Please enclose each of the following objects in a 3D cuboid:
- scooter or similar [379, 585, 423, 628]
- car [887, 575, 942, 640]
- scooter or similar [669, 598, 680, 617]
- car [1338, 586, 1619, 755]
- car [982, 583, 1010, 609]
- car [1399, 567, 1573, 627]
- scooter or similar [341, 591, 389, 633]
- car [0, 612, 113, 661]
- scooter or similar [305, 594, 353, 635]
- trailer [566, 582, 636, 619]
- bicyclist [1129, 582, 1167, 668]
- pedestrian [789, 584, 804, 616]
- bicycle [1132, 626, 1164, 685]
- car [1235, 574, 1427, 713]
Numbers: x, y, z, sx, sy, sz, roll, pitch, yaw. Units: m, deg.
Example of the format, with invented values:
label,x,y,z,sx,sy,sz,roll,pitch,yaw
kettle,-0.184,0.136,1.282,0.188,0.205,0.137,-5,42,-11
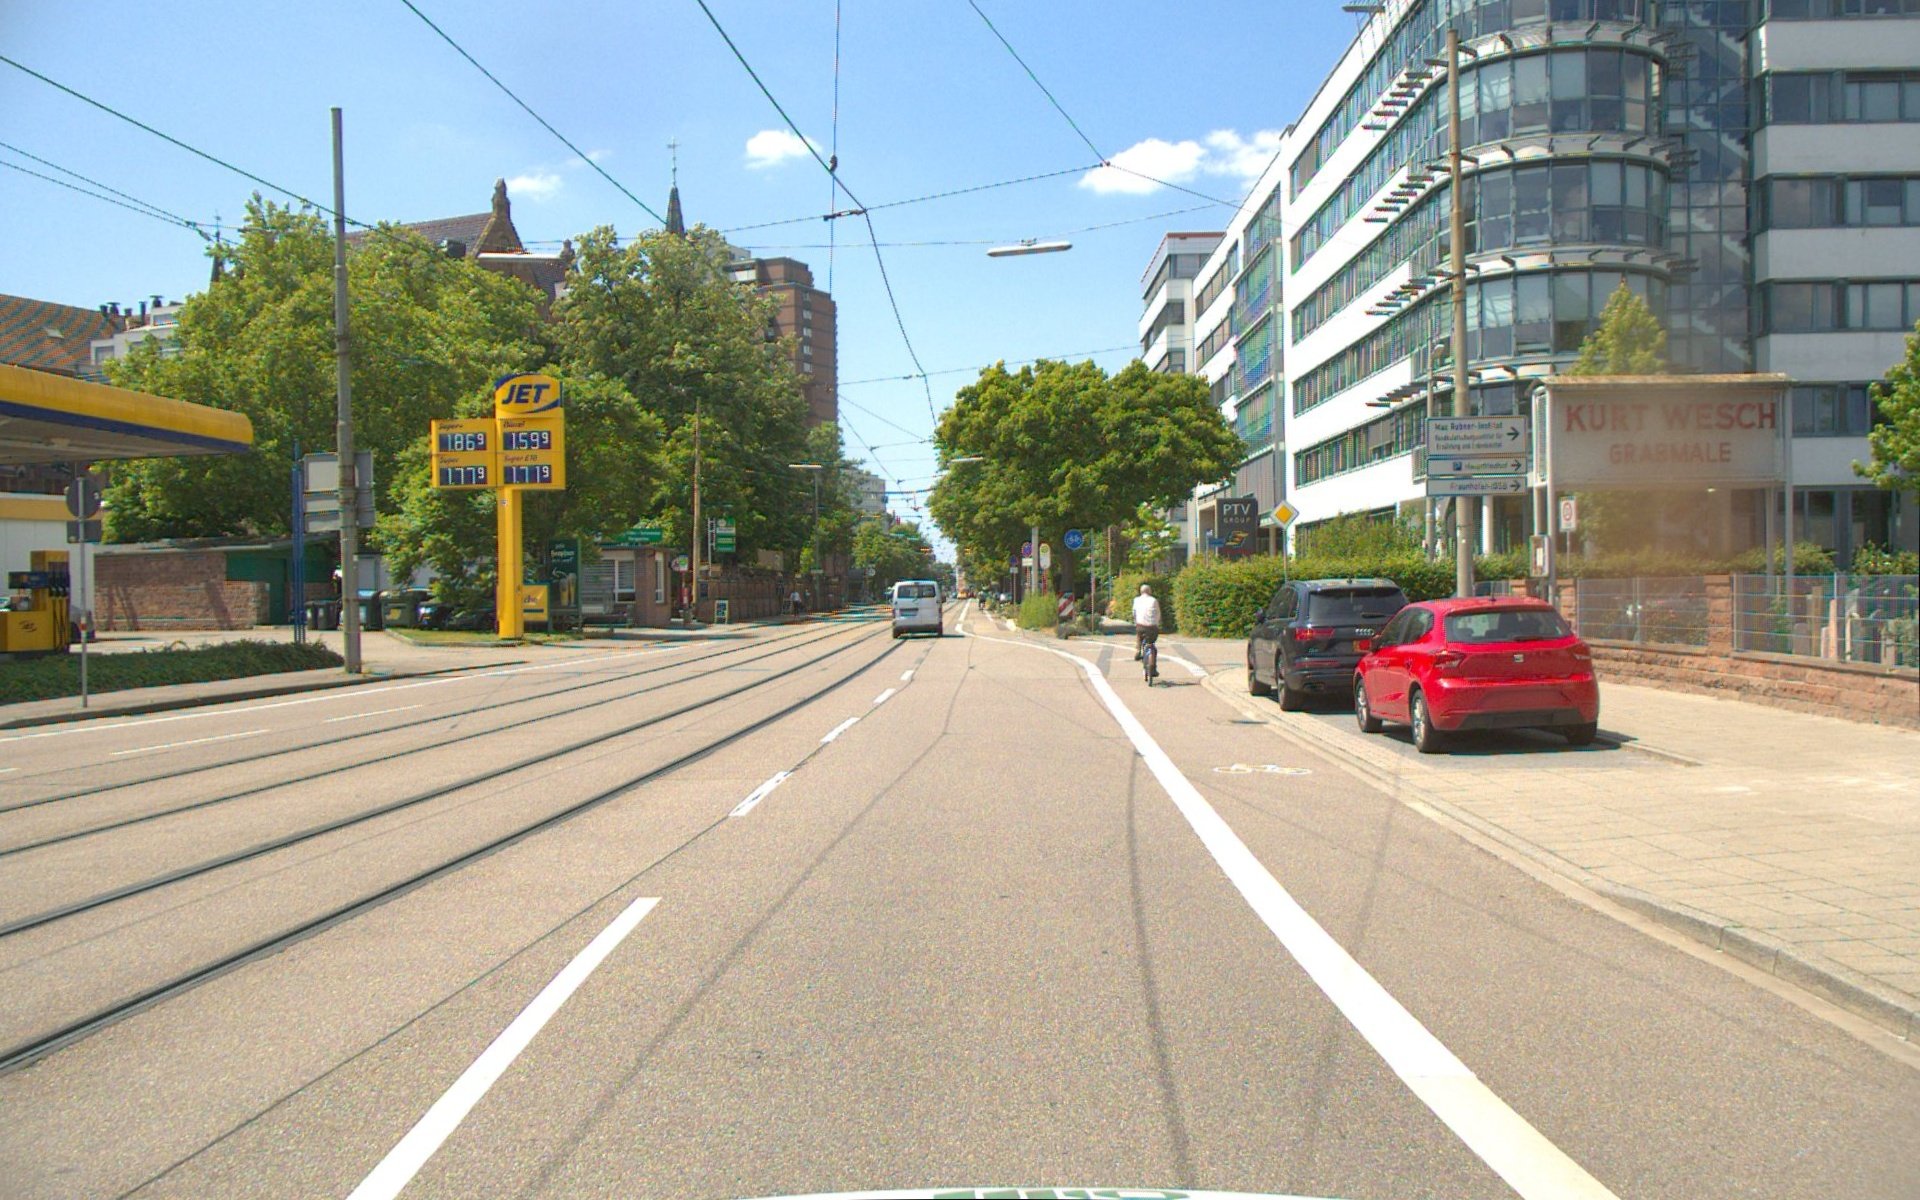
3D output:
label,x,y,z,sx,sy,sz,roll,pitch,yaw
scooter or similar,-20.225,0.236,59.836,1.147,1.492,1.060,-1,-1,6
car,-1.506,0.222,55.802,1.717,2.048,4.000,-2,1,-1
scooter or similar,-13.240,0.344,76.646,0.423,0.878,0.500,-1,-1,-2
car,5.285,0.640,17.415,1.677,1.478,4.073,-3,0,1
car,2.315,-0.256,106.337,1.554,1.515,3.454,-3,-1,-2
car,12.818,-0.085,40.422,3.721,1.297,1.556,-2,0,1
scooter or similar,-21.768,0.429,60.496,1.285,1.492,1.060,-1,-1,12
car,-28.363,1.100,49.922,1.798,1.389,5.007,-1,0,23
scooter or similar,-23.447,0.525,61.469,1.285,1.492,1.060,-1,0,12
trailer,-15.210,0.047,70.132,2.671,1.553,1.330,0,-1,1
bicyclist,3.170,0.408,27.930,0.579,1.421,0.842,-1,0,3
pedestrian,-10.938,0.000,110.772,0.846,2.049,0.646,-3,-1,-2
bicycle,3.170,0.915,27.940,0.456,0.903,2.049,-1,1,5
car,5.146,0.534,23.585,1.824,1.716,5.002,-2,0,3
